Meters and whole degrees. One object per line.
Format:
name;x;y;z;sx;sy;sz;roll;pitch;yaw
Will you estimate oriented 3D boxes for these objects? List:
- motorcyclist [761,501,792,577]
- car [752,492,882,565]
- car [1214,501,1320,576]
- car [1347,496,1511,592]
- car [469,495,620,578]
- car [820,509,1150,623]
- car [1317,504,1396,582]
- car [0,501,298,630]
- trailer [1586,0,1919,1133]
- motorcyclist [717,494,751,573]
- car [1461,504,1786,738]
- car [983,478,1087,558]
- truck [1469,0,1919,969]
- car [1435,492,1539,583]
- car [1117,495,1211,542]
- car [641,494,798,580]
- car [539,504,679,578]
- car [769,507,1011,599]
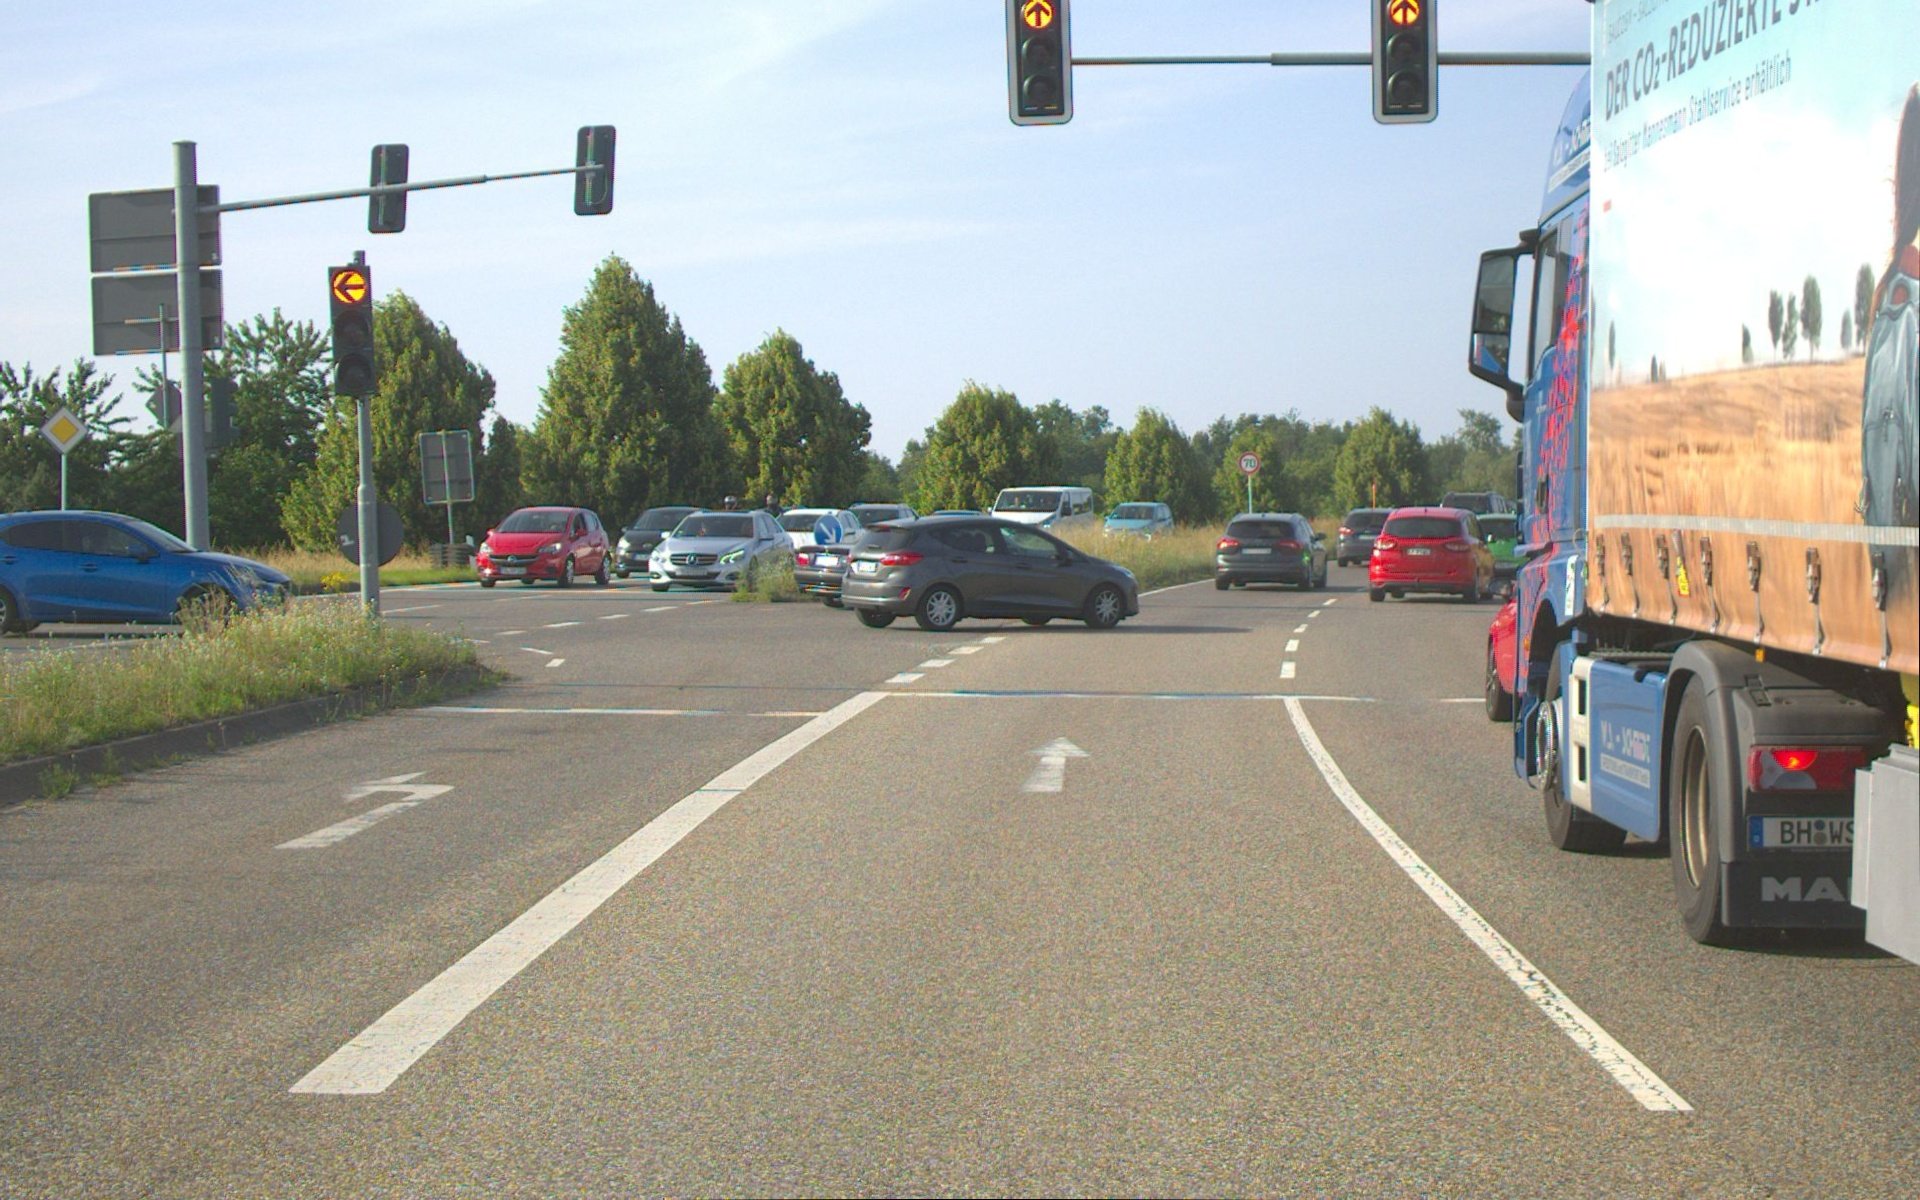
motorcyclist;-4.378;-1.453;82.142;0.662;1.810;0.605;-1;1;2
car;-2.877;-1.468;70.028;1.786;1.428;4.307;-1;1;9
car;5.876;-1.151;65.442;1.837;1.372;4.277;0;0;7
car;7.991;-0.930;58.307;1.897;1.559;4.274;0;0;20
car;-7.727;-1.200;64.221;1.721;1.483;3.803;0;1;10
car;0.321;-0.426;44.206;3.782;1.411;1.921;0;0;-26
car;10.013;-1.421;86.630;1.909;1.909;4.277;0;0;7
car;-9.991;-0.424;40.687;3.972;1.487;1.779;0;2;0
trailer;4.060;-0.939;7.186;3.281;4.665;13.148;0;1;1
motorcyclist;-5.043;-1.491;76.776;0.662;1.741;0.605;-1;1;2
car;4.690;0.095;24.776;1.696;1.544;3.750;-1;1;1
car;2.026;-2.180;91.119;1.926;2.071;4.241;0;1;13
truck;4.205;-1.107;14.600;3.300;4.641;5.732;0;1;1
car;10.655;-1.242;69.697;1.909;1.794;4.277;0;0;7
car;6.125;-2.446;102.908;1.787;1.381;4.048;0;1;19
car;-4.280;-1.154;61.899;1.786;1.483;4.649;-1;1;9
car;-7.040;-1.205;69.314;1.786;1.428;4.050;-1;1;9
car;-1.002;-0.691;51.943;1.911;1.318;4.272;0;0;26
